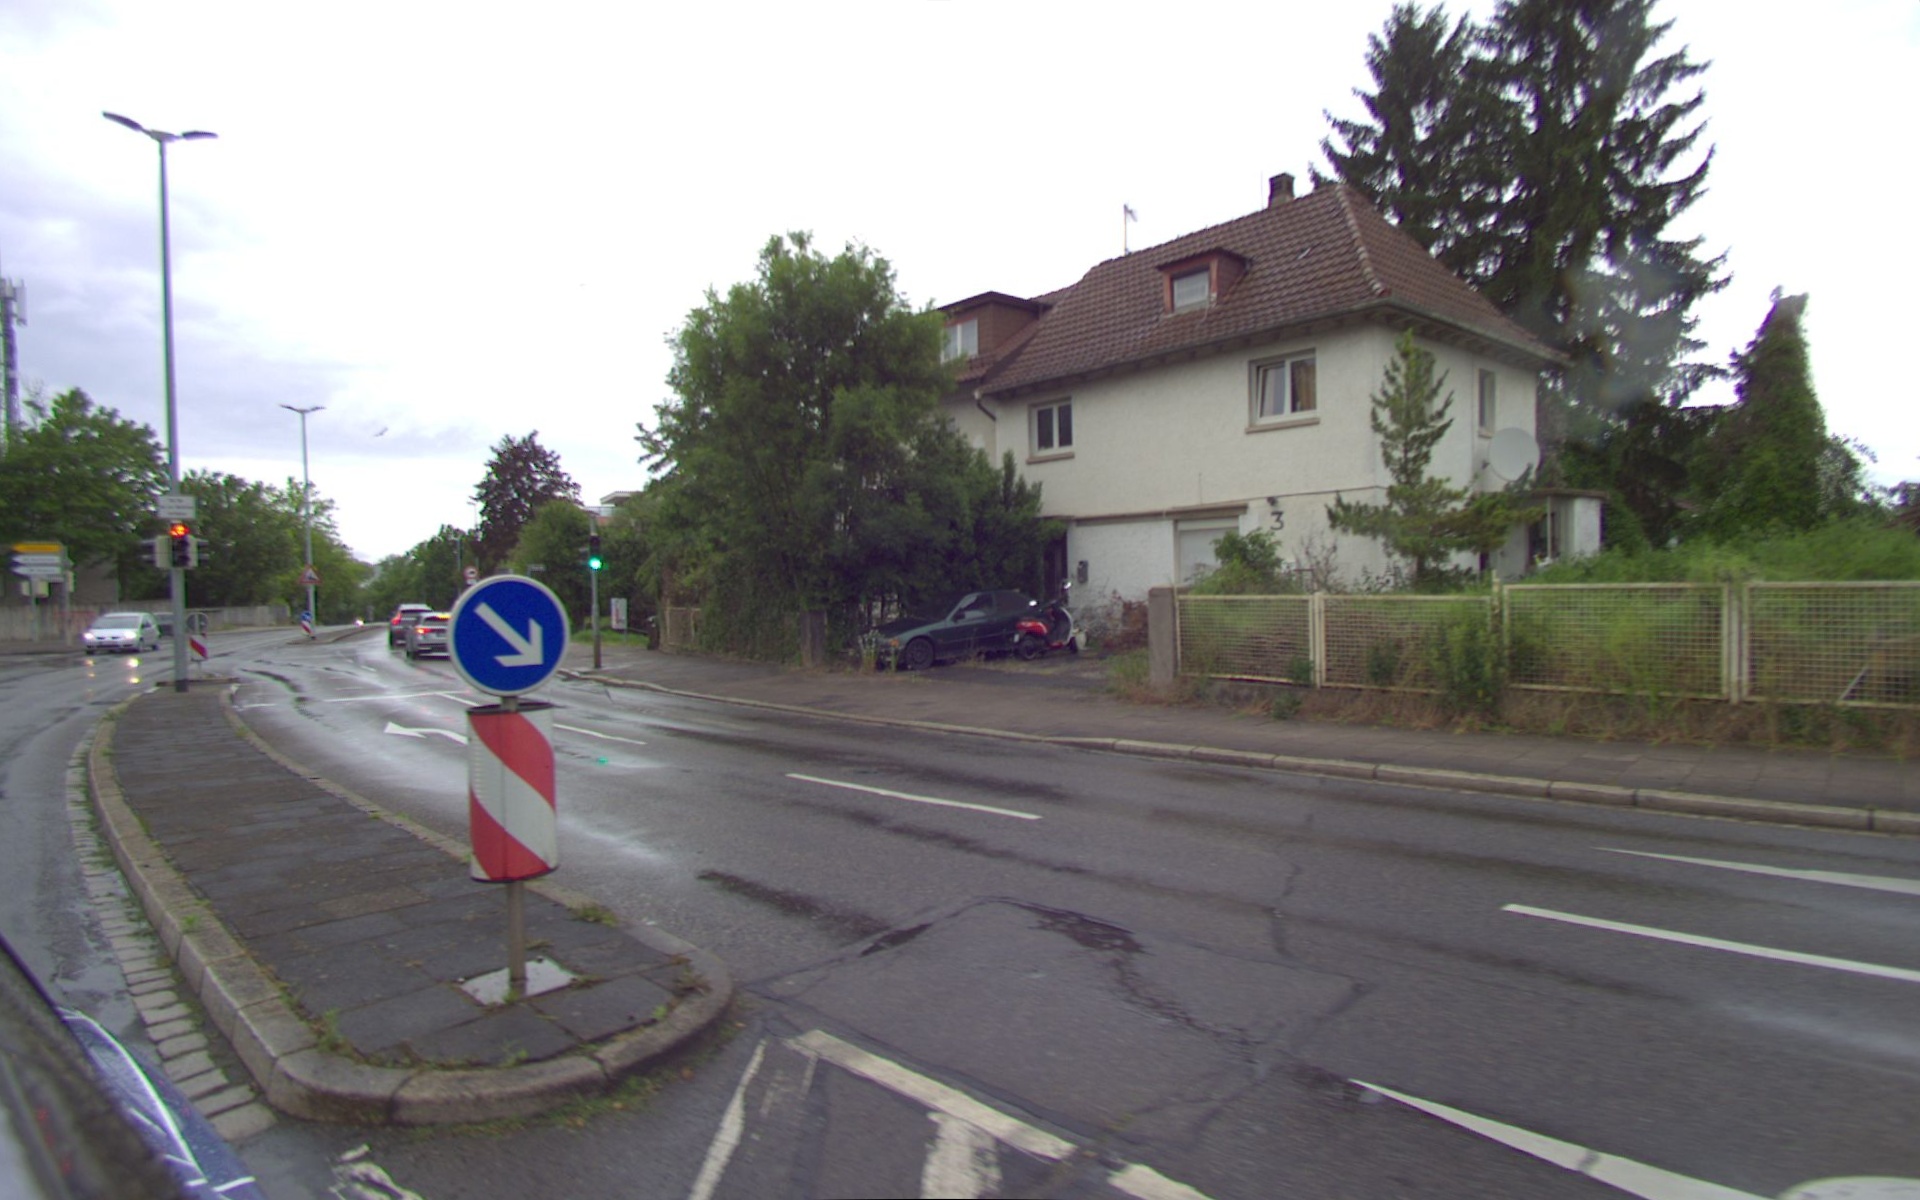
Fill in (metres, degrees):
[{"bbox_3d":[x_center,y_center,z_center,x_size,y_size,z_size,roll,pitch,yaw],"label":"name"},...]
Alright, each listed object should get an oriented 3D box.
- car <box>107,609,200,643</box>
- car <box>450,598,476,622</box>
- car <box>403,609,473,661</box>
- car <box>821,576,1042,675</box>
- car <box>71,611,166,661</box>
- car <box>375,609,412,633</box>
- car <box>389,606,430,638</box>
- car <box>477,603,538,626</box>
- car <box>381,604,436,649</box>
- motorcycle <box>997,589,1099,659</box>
[{"bbox_3d":[-45.276,1.423,56.914,1.970,1.669,4.230,-1,1,-3],"label":"car"},{"bbox_3d":[-39.127,0.747,79.684,1.791,1.730,4.013,-1,1,-27],"label":"car"},{"bbox_3d":[-17.278,1.084,33.374,1.653,1.460,4.702,-2,2,-32],"label":"car"},{"bbox_3d":[-0.471,0.417,19.614,3.942,1.404,1.934,-8,5,-44],"label":"car"},{"bbox_3d":[-32.715,1.357,39.466,1.965,1.669,4.013,-1,1,-27],"label":"car"},{"bbox_3d":[-37.493,1.383,67.075,1.838,1.487,4.461,0,0,-25],"label":"car"},{"bbox_3d":[-28.856,1.115,53.141,1.838,1.565,4.461,0,0,-28],"label":"car"},{"bbox_3d":[-31.843,0.977,71.229,3.824,1.467,1.774,-2,1,-28],"label":"car"},{"bbox_3d":[-23.555,1.073,43.170,1.857,1.690,4.244,-2,2,-31],"label":"car"},{"bbox_3d":[1.737,0.436,19.627,0.728,1.097,2.178,-1,5,43],"label":"motorcycle"}]
